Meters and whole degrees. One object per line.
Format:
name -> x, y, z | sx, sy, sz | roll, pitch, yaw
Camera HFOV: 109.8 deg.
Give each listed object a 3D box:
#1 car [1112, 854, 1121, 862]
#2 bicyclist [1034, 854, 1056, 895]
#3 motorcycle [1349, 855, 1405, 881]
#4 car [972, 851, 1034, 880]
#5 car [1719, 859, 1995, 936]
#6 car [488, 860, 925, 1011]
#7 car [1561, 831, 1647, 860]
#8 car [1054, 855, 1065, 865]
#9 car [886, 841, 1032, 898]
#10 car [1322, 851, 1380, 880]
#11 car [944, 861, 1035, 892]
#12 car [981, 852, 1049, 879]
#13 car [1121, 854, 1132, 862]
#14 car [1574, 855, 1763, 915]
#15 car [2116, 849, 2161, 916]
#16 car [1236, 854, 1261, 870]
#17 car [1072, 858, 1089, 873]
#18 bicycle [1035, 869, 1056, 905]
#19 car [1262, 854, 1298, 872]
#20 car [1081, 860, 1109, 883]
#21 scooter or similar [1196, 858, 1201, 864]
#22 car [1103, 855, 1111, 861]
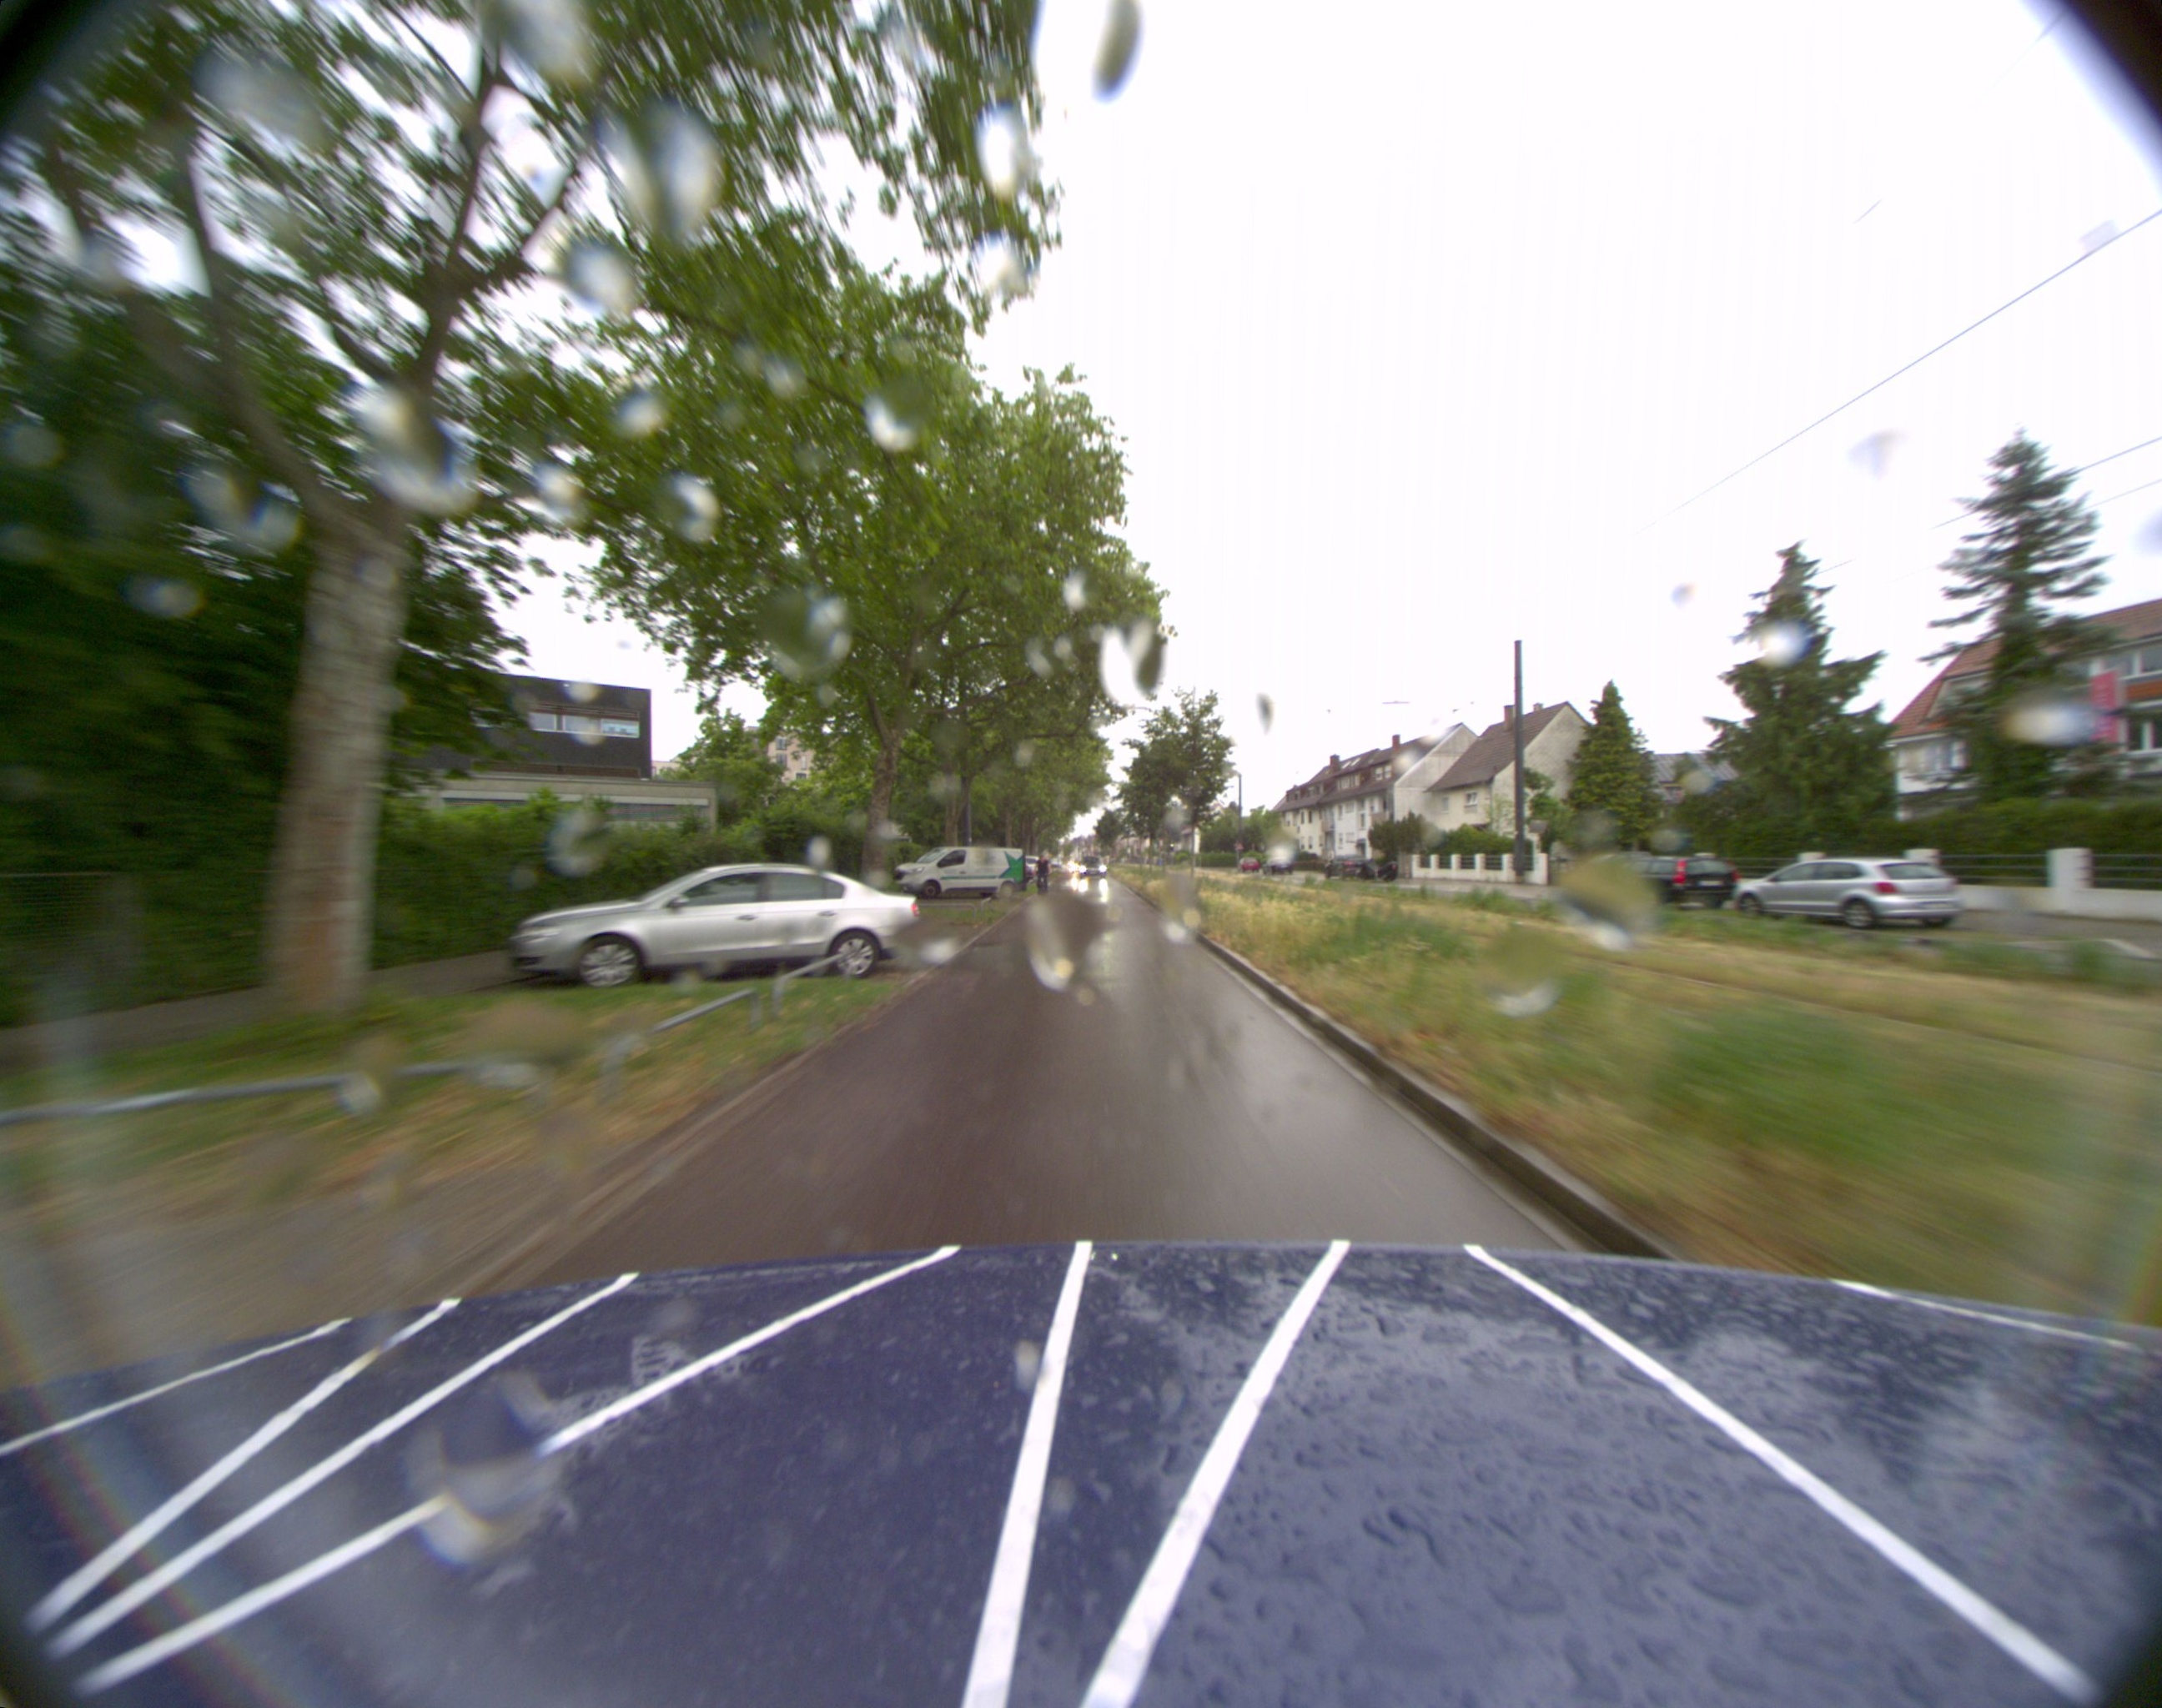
car -> 10.128, 1.143, 217.444 | 2.000, 2.002, 3.997 | 0, 0, -7
bicyclist -> -1.288, 0.722, 27.287 | 0.675, 1.421, 0.753 | -3, 1, -2
motorcycle -> 16.890, 0.797, 43.361 | 2.680, 1.403, 1.269 | -1, 2, 42
car -> -4.611, 0.672, 45.047 | 3.281, 1.662, 1.588 | 1, 1, -34
car -> 16.738, 0.866, 16.742 | 1.998, 1.402, 3.971 | -2, 0, 0
car -> -4.541, 0.917, 9.723 | 4.569, 1.535, 1.883 | 2, -1, -31
car -> 31.227, -0.478, 45.446 | 3.968, 1.531, 1.704 | -2, 0, 0
car -> -3.474, 0.966, 124.436 | 1.781, 1.477, 4.000 | 2, 0, -1
car -> -4.558, 0.592, 28.721 | 5.039, 2.001, 1.995 | 1, -1, -34
car -> 17.149, 0.698, 48.504 | 1.999, 1.665, 4.386 | -1, 0, -1
car -> -4.584, 1.089, 38.380 | 4.314, 1.376, 1.736 | -1, 0, -39
car -> -4.169, 0.709, 48.065 | 4.056, 1.631, 1.650 | 0, 1, -38
car -> 11.749, 1.059, 196.091 | 2.000, 2.002, 3.998 | 0, 0, -6
car -> 16.624, 0.807, 21.861 | 1.998, 1.447, 4.532 | -2, 0, 2
car -> 24.111, 0.586, 15.085 | 1.703, 1.402, 3.971 | -2, 0, 0
car -> 16.868, 0.812, 76.686 | 1.802, 1.448, 4.001 | -2, 0, 2
car -> -0.076, 1.200, 81.396 | 1.781, 1.477, 4.000 | 2, 0, -1
bicycle -> -1.272, 1.164, 27.327 | 0.675, 1.136, 2.445 | -2, 0, -2
car -> 17.072, 0.792, 65.338 | 1.998, 1.402, 4.762 | -2, 0, 2
car -> 0.948, 1.232, 53.672 | 1.781, 1.477, 4.000 | 2, 0, -1
scooter or similar -> 18.108, 1.061, 116.980 | 0.347, 0.905, 1.258 | 0, 0, -5
car -> 8.051, 1.216, 238.429 | 2.000, 2.002, 3.997 | 0, 0, -7
